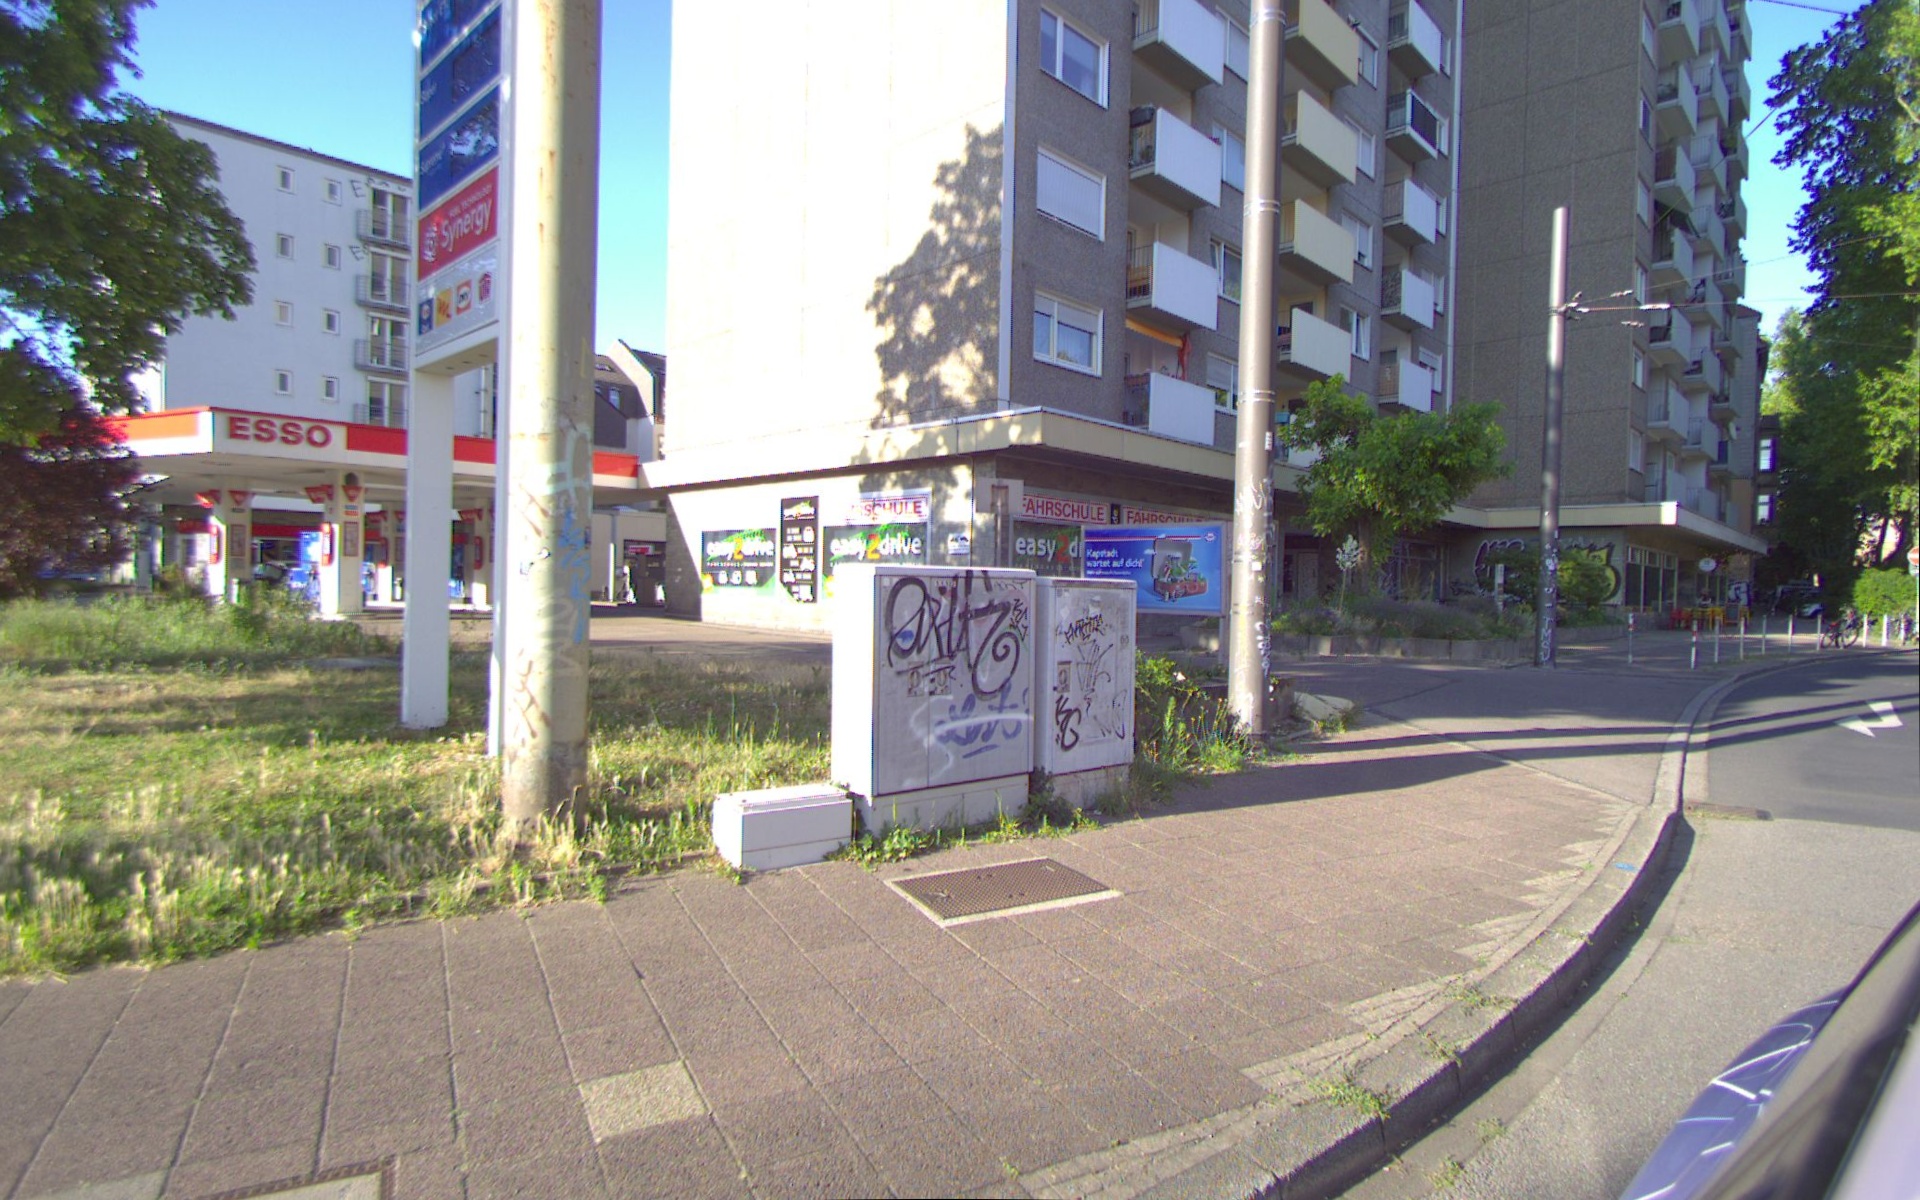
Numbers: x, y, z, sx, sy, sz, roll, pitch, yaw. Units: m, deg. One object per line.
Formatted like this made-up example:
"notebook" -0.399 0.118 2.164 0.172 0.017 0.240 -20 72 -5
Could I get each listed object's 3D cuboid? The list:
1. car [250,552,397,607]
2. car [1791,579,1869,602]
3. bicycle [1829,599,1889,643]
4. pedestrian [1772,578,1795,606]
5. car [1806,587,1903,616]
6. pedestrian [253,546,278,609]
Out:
"car" -18.549 -0.618 29.476 3.966 1.370 1.980 4 2 29
"car" 61.920 -0.671 72.136 3.975 1.527 1.862 2 1 35
"bicycle" 24.753 0.560 27.856 2.235 1.149 0.611 0 1 -32
"pedestrian" 60.720 -0.607 74.655 1.206 2.039 1.191 2 1 36
"car" 51.785 0.052 58.720 3.975 1.527 1.862 2 1 35
"pedestrian" -19.236 -0.621 28.018 0.416 1.726 0.416 1 1 29
